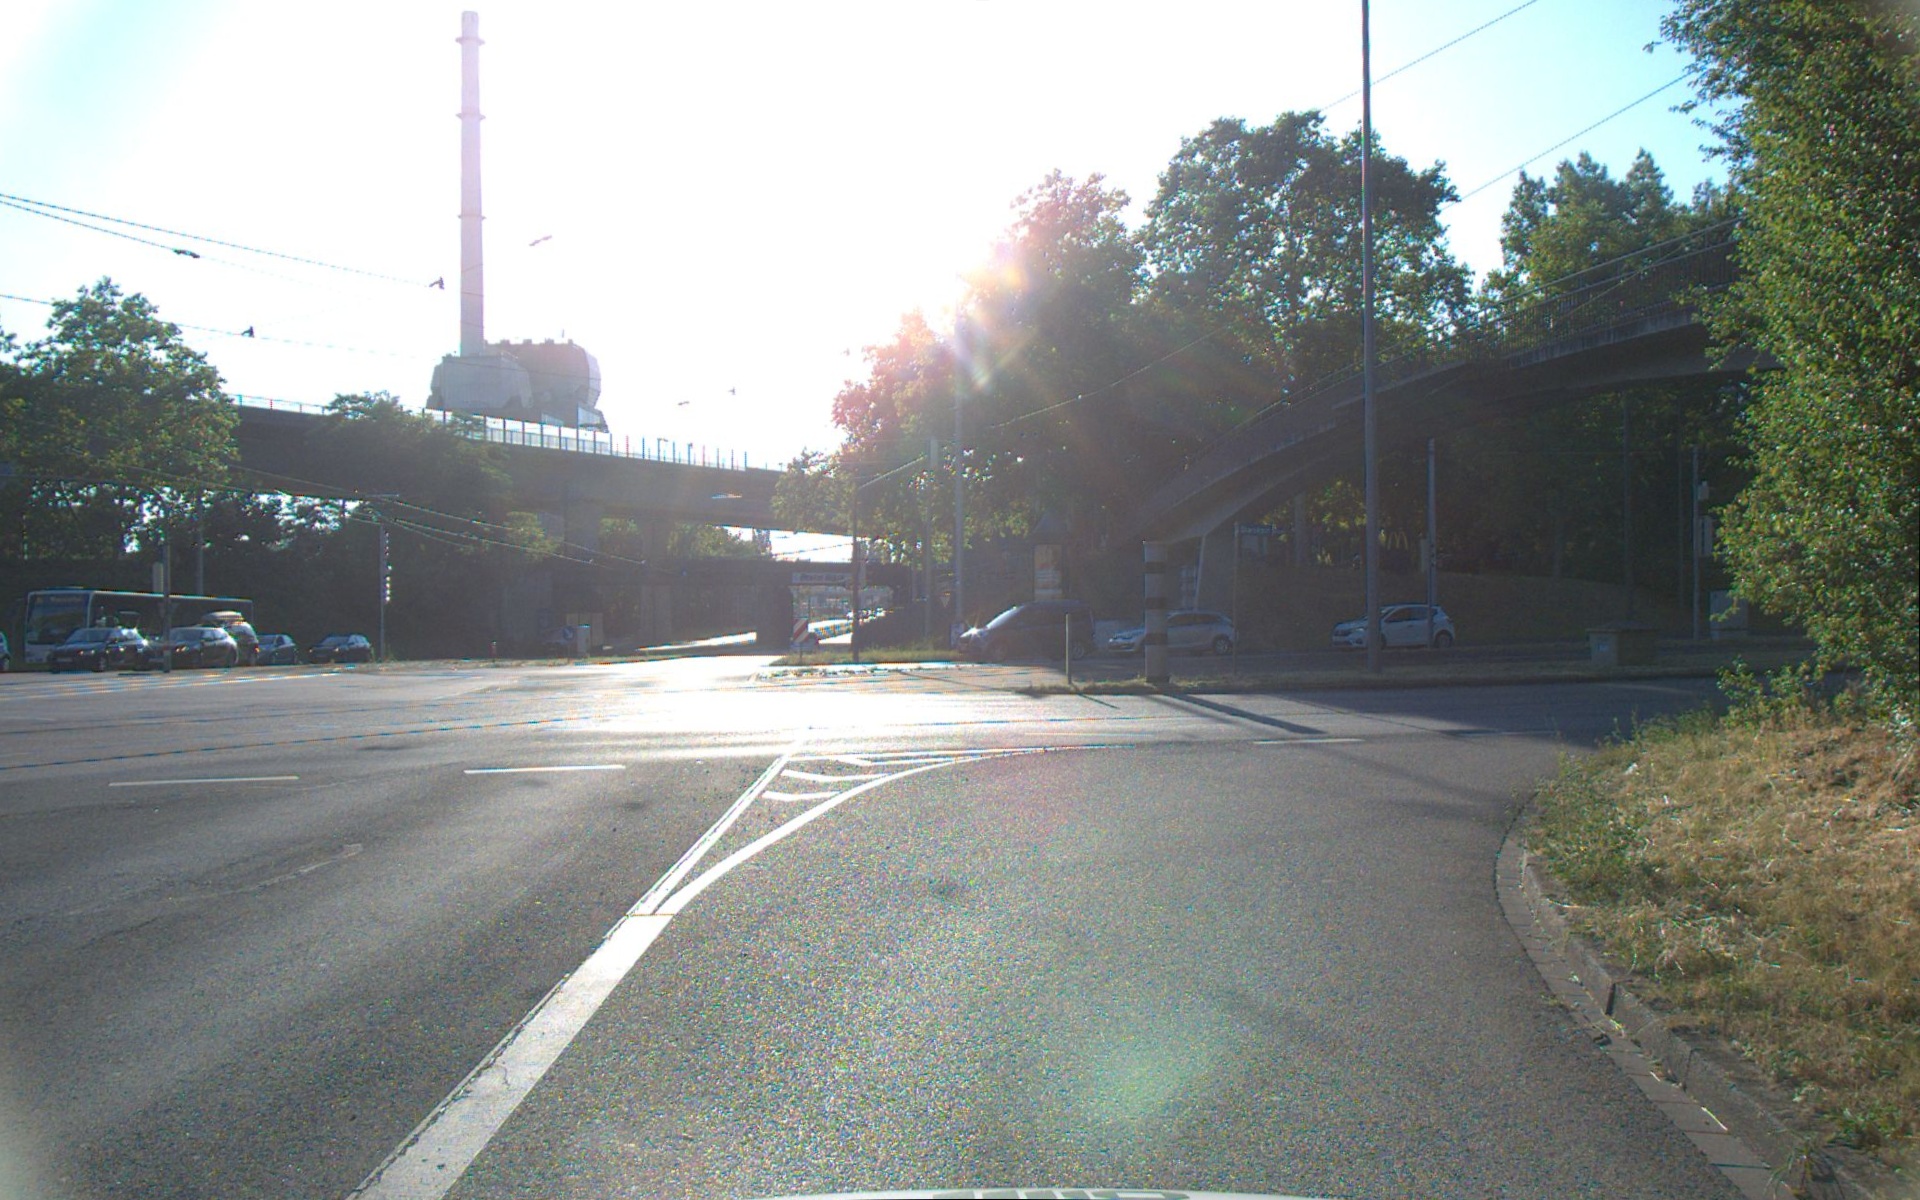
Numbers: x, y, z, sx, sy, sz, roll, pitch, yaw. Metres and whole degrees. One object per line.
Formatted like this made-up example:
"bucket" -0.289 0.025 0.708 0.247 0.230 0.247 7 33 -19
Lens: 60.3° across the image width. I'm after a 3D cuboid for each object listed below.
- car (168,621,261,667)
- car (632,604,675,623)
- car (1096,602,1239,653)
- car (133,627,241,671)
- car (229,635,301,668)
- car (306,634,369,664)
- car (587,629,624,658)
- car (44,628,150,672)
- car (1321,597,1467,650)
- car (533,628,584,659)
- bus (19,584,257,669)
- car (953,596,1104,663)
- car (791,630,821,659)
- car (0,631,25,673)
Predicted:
"car" -28.221 1.625 62.712 1.676 1.681 4.094 0 -1 0
"car" -29.806 1.334 160.869 1.957 1.802 3.991 0 -1 31
"car" 6.786 0.882 54.088 4.291 1.637 1.846 0 -1 -20
"car" -25.684 1.600 55.080 1.676 1.378 4.094 0 -1 0
"car" -31.959 2.341 76.159 1.665 1.467 3.999 0 -1 0
"car" -31.174 2.430 82.943 1.665 1.467 3.999 0 -1 0
"car" -21.381 2.626 99.846 1.677 1.681 4.091 0 -1 -5
"car" -28.452 1.619 54.657 1.572 1.378 3.997 0 -1 -3
"car" 13.893 0.742 52.967 4.230 1.637 1.846 0 -1 -20
"car" -28.625 3.070 118.052 1.951 2.049 5.428 -1 0 4
"bus" -32.075 1.021 65.458 2.764 3.006 12.854 0 -1 1
"car" 1.990 0.856 48.416 4.070 1.900 1.847 0 -1 -19
"car" -9.217 2.636 99.295 1.677 1.681 4.215 0 -1 -4
"car" -32.080 1.704 53.570 1.572 1.378 3.732 0 -1 -3
